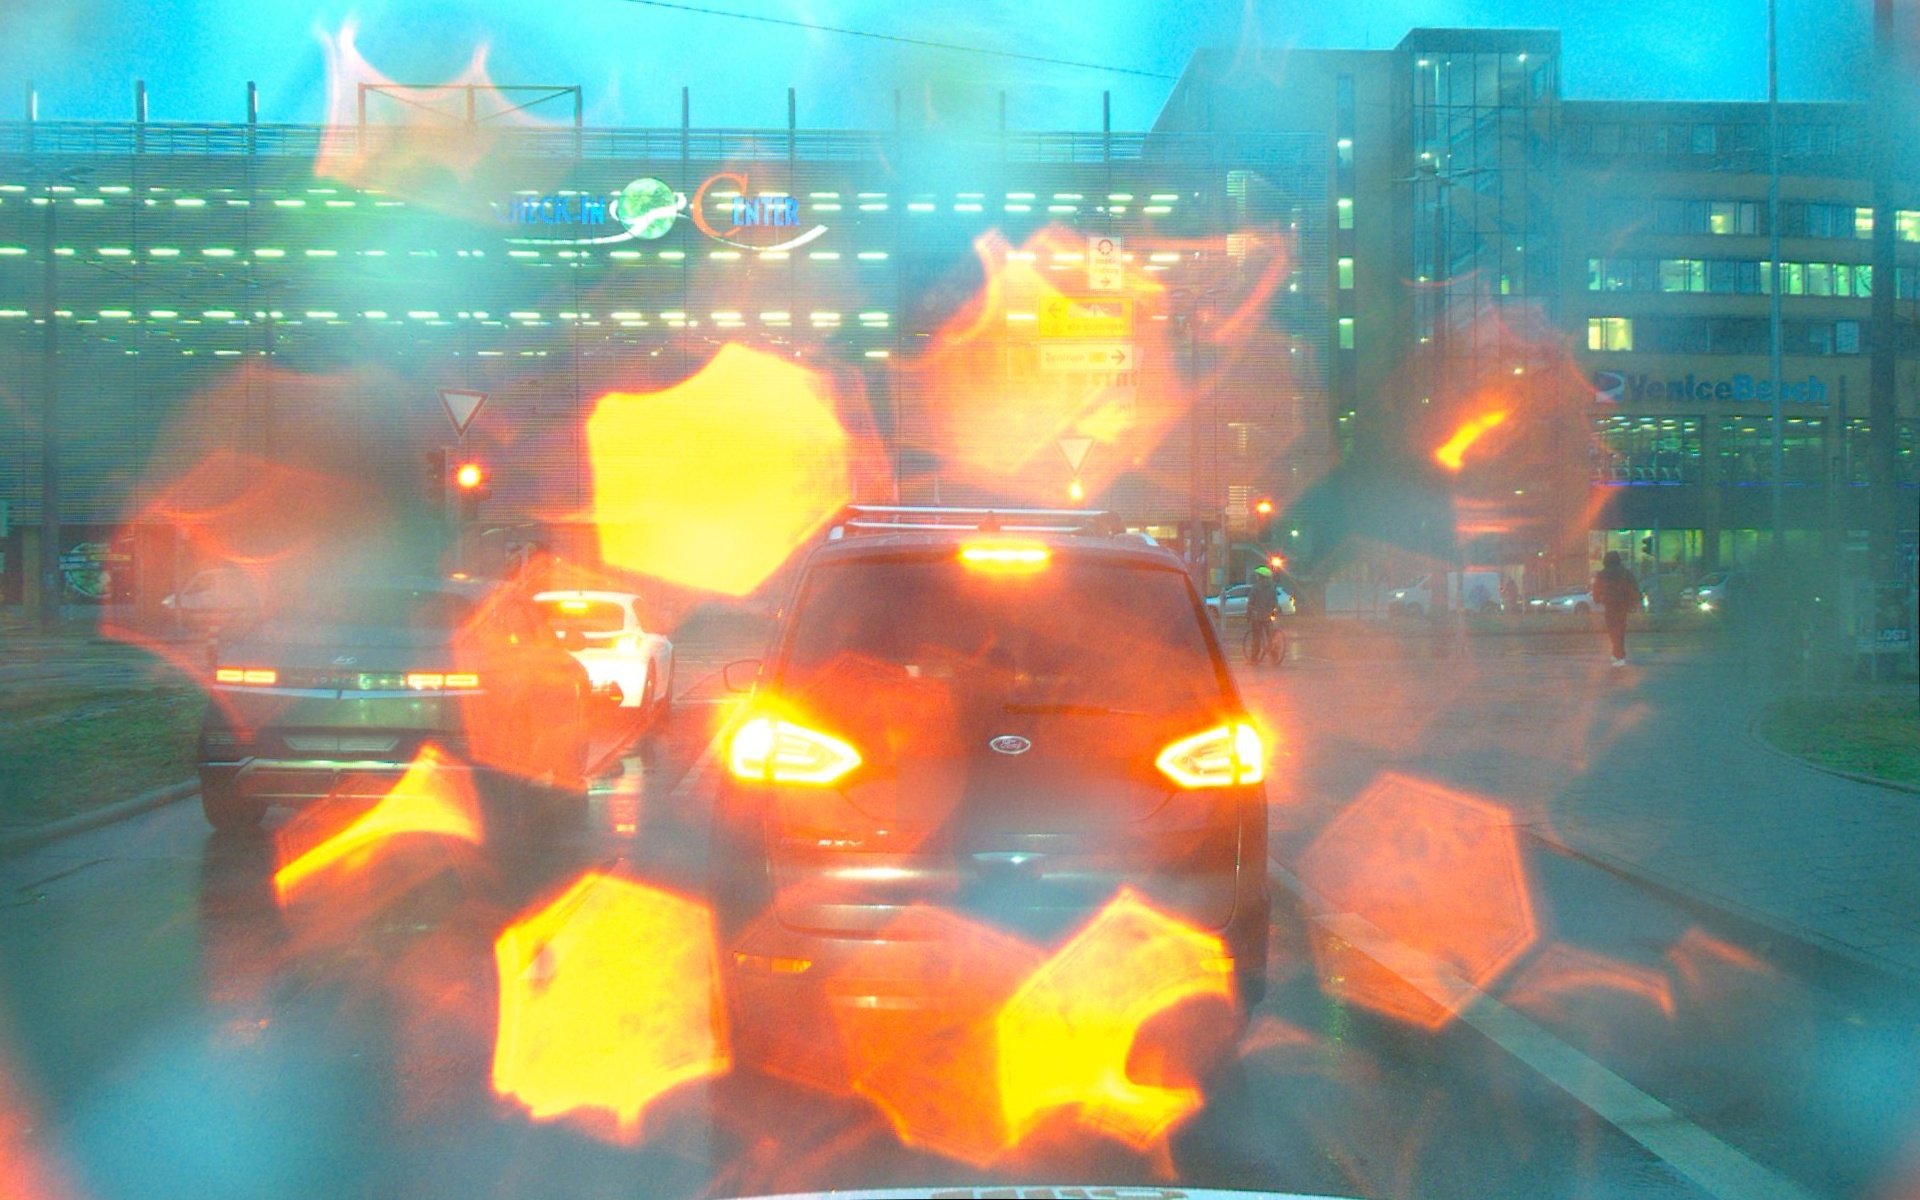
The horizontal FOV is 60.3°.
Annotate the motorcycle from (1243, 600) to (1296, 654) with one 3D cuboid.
[{"bbox_3d":[5.925,0.509,31.730,0.835,0.989,1.582,0,0,5],"label":"motorcycle"}]

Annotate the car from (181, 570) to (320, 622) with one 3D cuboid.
[{"bbox_3d":[-28.374,-0.170,66.253,4.747,2.035,1.797,-1,0,-8],"label":"car"}]

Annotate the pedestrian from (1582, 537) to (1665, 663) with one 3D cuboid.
[{"bbox_3d":[10.669,-0.006,26.611,1.146,1.957,0.898,2,0,22],"label":"pedestrian"}]

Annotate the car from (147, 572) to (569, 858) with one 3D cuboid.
[{"bbox_3d":[-3.883,0.638,11.393,1.718,1.601,3.996,0,0,-5],"label":"car"}]

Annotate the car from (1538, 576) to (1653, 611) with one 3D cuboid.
[{"bbox_3d":[26.471,-0.290,68.893,4.136,1.414,1.797,-1,0,-8],"label":"car"}]

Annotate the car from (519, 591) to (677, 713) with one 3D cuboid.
[{"bbox_3d":[-4.158,0.538,19.462,1.512,1.273,4.060,0,0,-8],"label":"car"}]

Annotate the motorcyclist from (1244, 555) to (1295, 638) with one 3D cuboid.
[{"bbox_3d":[5.927,-0.069,31.744,0.850,1.561,1.109,0,0,5],"label":"motorcyclist"}]

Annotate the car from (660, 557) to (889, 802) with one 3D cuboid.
[{"bbox_3d":[-1.478,0.569,13.617,1.604,1.726,3.667,1,0,-5],"label":"car"}]

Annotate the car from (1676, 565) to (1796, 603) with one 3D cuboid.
[{"bbox_3d":[32.777,-0.664,69.892,4.348,1.561,1.797,-1,0,-8],"label":"car"}]

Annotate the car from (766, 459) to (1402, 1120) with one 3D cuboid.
[{"bbox_3d":[0.241,0.512,6.662,1.700,1.768,4.244,2,0,-3],"label":"car"}]

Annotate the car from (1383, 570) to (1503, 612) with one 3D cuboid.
[{"bbox_3d":[19.600,-0.376,67.219,4.336,1.623,1.797,-1,0,-8],"label":"car"}]

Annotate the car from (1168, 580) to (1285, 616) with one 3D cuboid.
[{"bbox_3d":[10.707,-0.091,66.650,4.336,1.414,1.797,-1,0,-8],"label":"car"}]
